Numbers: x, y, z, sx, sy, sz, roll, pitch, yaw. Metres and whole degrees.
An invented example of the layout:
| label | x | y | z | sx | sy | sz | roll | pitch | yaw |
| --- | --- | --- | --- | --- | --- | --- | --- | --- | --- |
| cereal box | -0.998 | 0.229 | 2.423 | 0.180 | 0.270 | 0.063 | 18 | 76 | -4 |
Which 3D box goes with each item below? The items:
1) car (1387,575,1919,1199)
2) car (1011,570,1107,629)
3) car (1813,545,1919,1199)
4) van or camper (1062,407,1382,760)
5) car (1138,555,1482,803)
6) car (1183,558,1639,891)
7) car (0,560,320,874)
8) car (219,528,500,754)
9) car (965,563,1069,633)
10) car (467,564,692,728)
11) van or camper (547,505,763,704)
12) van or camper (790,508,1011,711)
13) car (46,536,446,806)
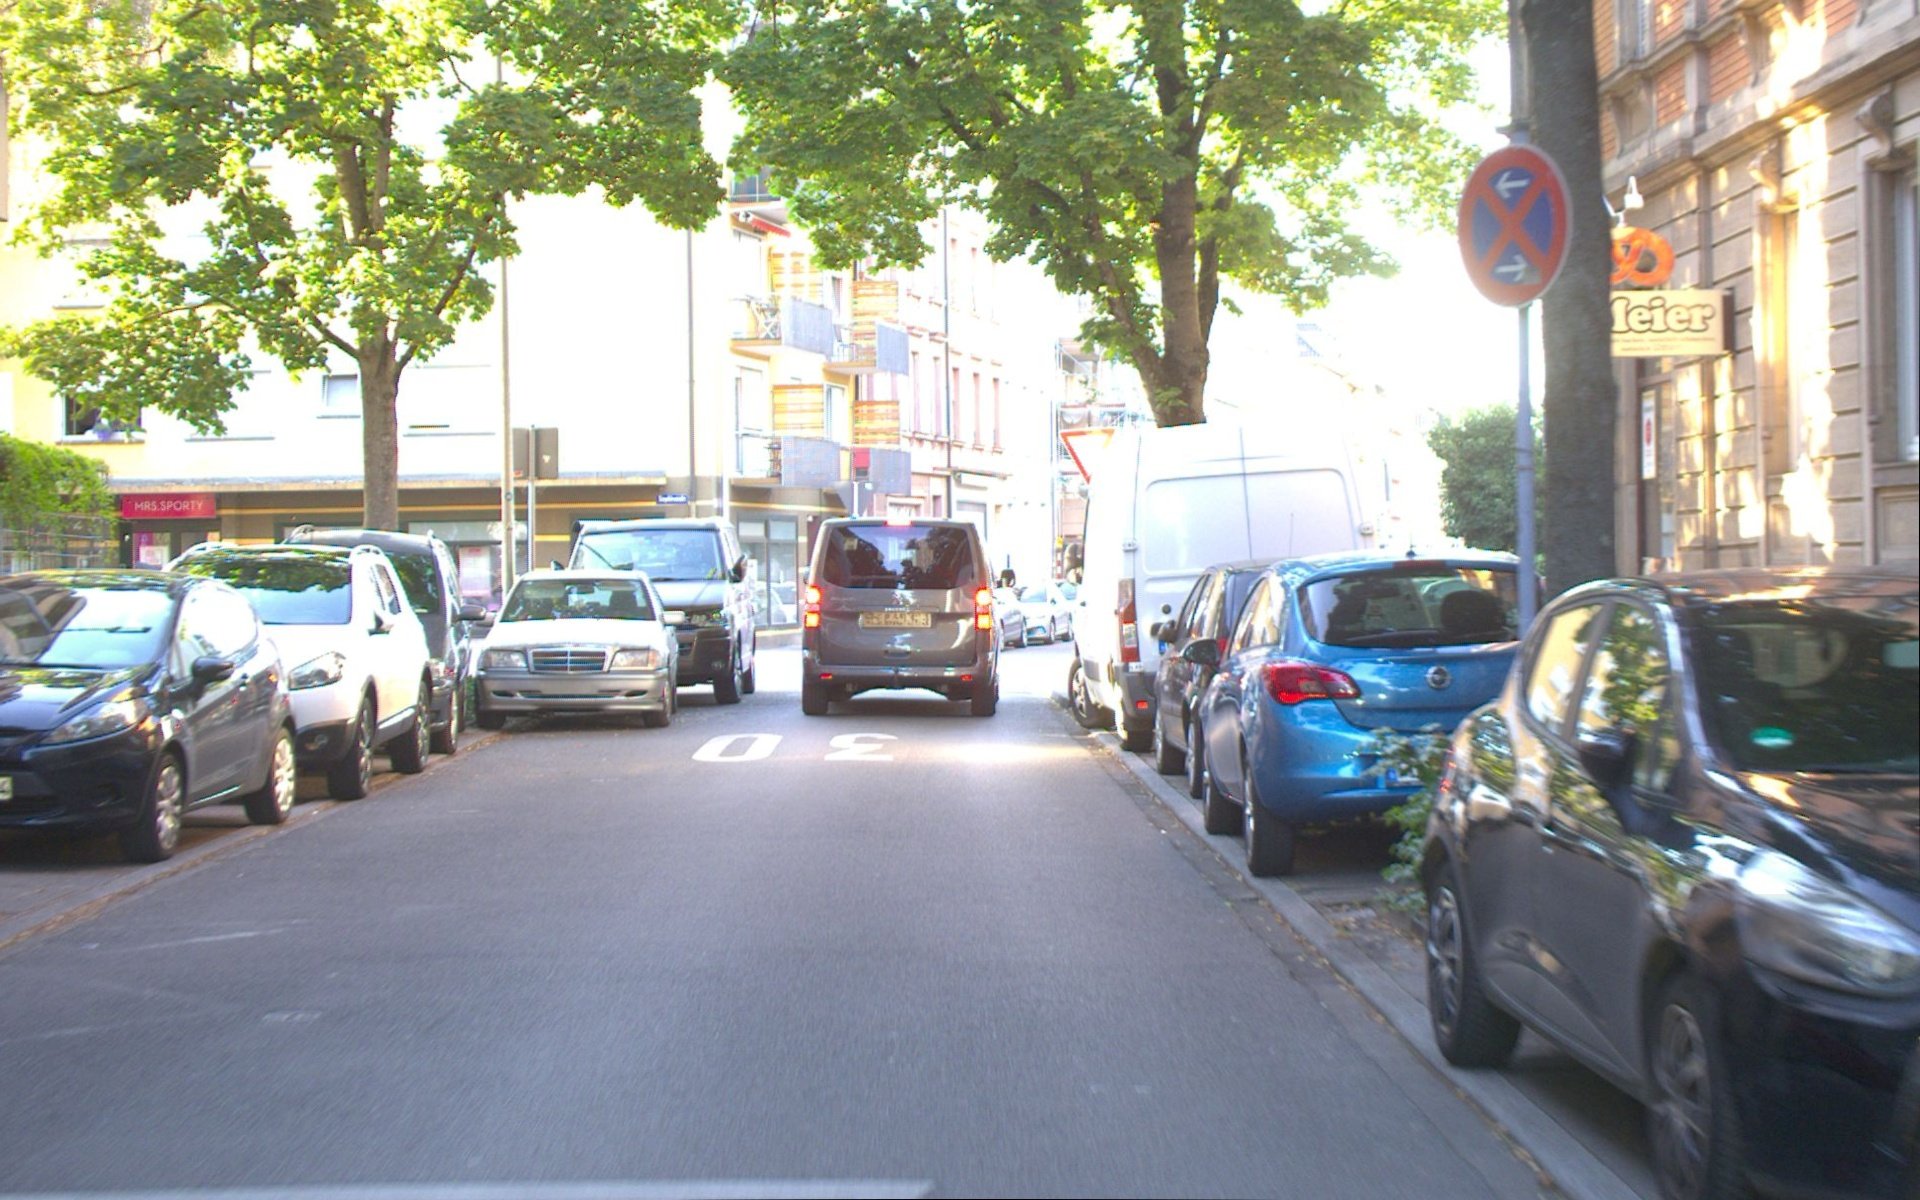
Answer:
| label | x | y | z | sx | sy | sz | roll | pitch | yaw |
| --- | --- | --- | --- | --- | --- | --- | --- | --- | --- |
| car | 2.262 | 0.659 | 8.451 | 1.715 | 1.398 | 3.814 | -1 | 1 | -4 |
| car | 2.480 | -0.028 | 85.465 | 1.796 | 1.415 | 3.746 | 0 | 1 | 11 |
| car | 2.224 | 0.673 | 4.269 | 1.551 | 1.491 | 3.610 | 0 | 1 | 2 |
| van or camper | 2.013 | -0.153 | 28.054 | 1.993 | 2.590 | 5.425 | 0 | 1 | -2 |
| car | 2.180 | 0.448 | 22.336 | 1.750 | 1.466 | 3.776 | 0 | 1 | -1 |
| car | 2.115 | 0.529 | 17.079 | 1.750 | 1.466 | 3.776 | 0 | 1 | 0 |
| car | -4.769 | 0.539 | 18.521 | 1.740 | 1.479 | 3.839 | 1 | 1 | 3 |
| car | -4.857 | 0.296 | 28.180 | 1.741 | 1.706 | 3.375 | 1 | 1 | -1 |
| car | 1.354 | -0.070 | 79.841 | 1.796 | 1.573 | 3.746 | 0 | 1 | 11 |
| car | -3.475 | 0.386 | 31.916 | 1.741 | 1.399 | 3.375 | -1 | 1 | -1 |
| van or camper | -3.217 | 0.020 | 37.017 | 1.862 | 1.976 | 4.271 | -1 | 1 | 1 |
| van or camper | -0.520 | 0.060 | 34.205 | 2.035 | 1.891 | 4.271 | 0 | 1 | 1 |
| car | -4.726 | 0.412 | 23.355 | 1.897 | 1.631 | 4.156 | 1 | 1 | -1 |
